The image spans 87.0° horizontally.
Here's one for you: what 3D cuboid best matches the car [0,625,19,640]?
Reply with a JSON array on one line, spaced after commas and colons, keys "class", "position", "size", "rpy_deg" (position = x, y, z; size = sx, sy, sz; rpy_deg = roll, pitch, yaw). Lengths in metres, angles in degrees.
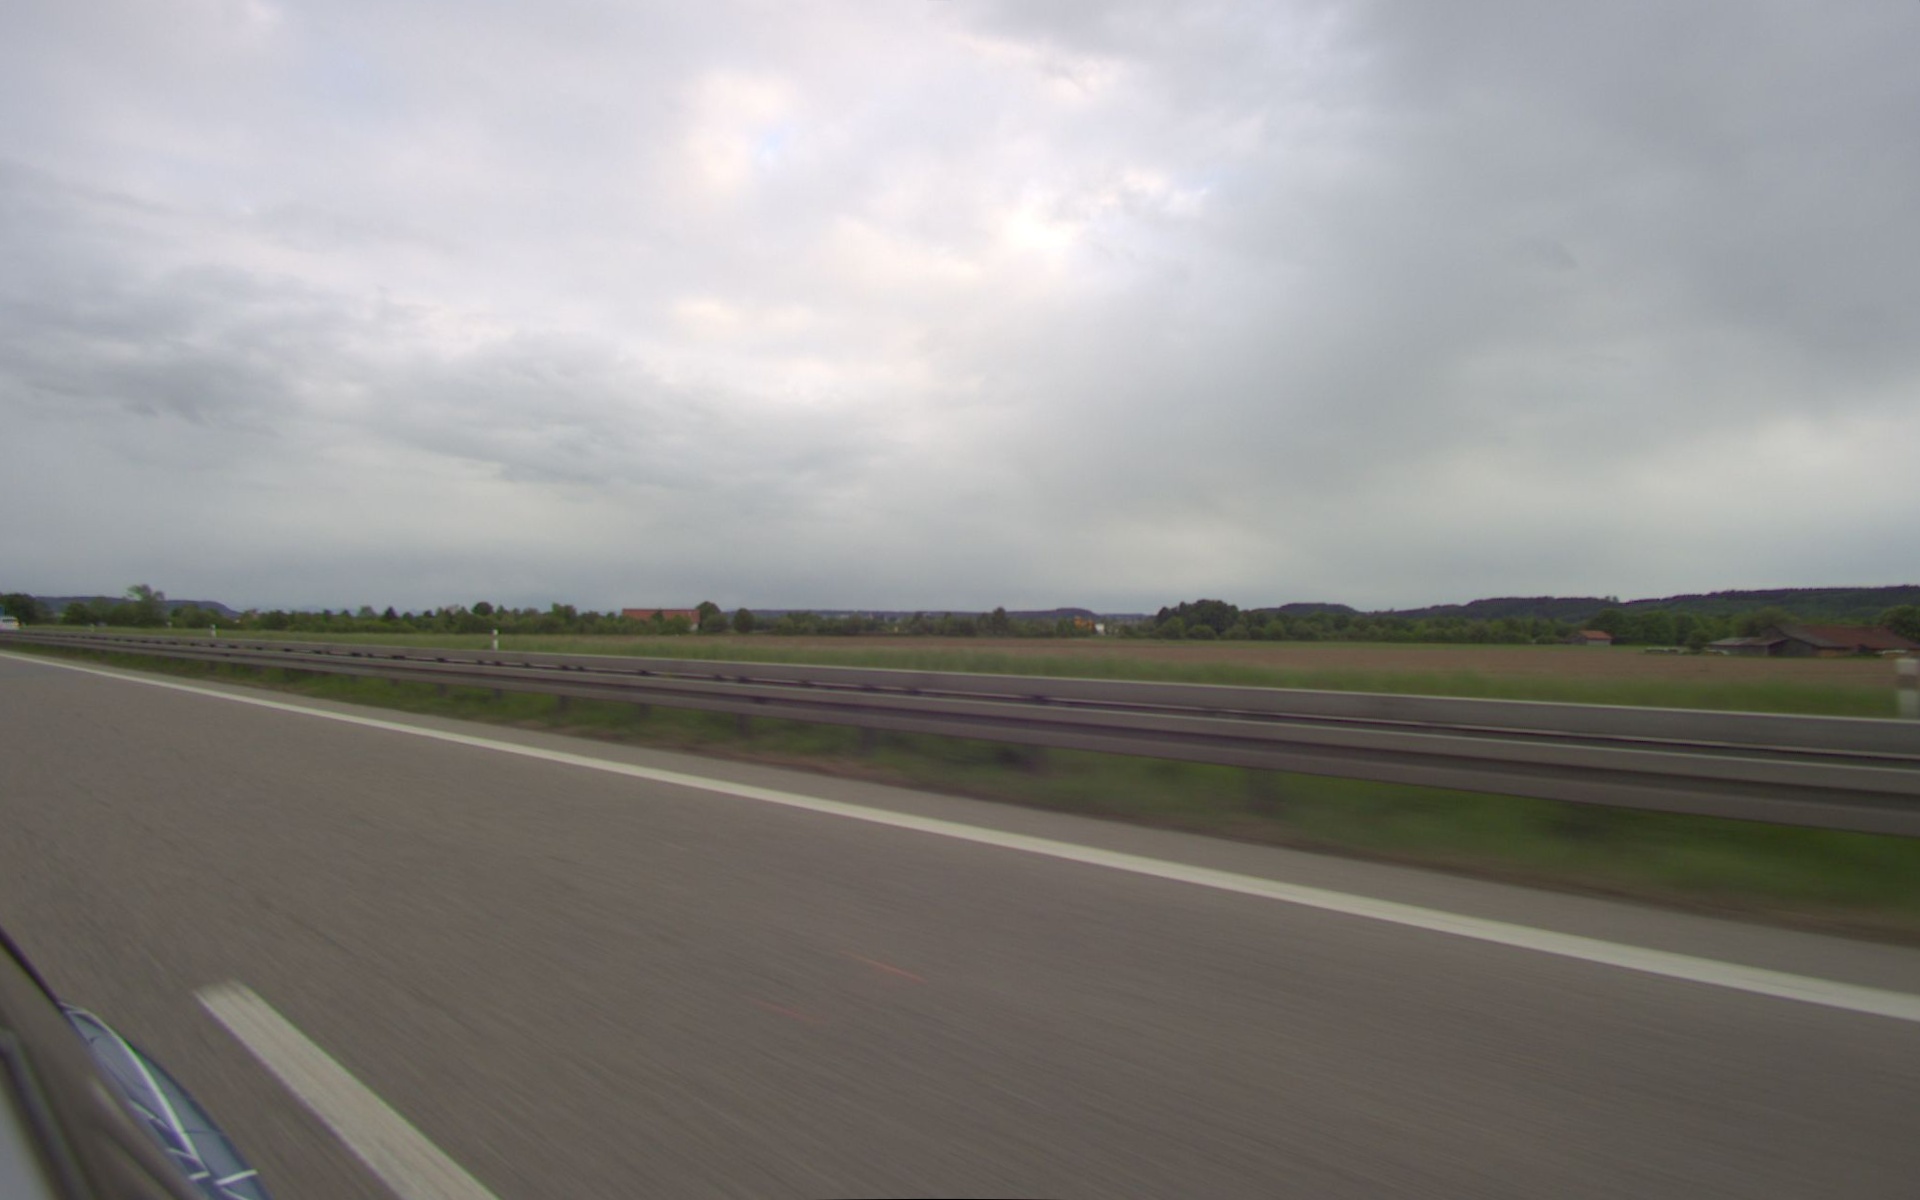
[{"class": "car", "position": [-114.516, 3.907, 121.299], "size": [4.948, 1.778, 1.973], "rpy_deg": [-1, -1, 40]}]
